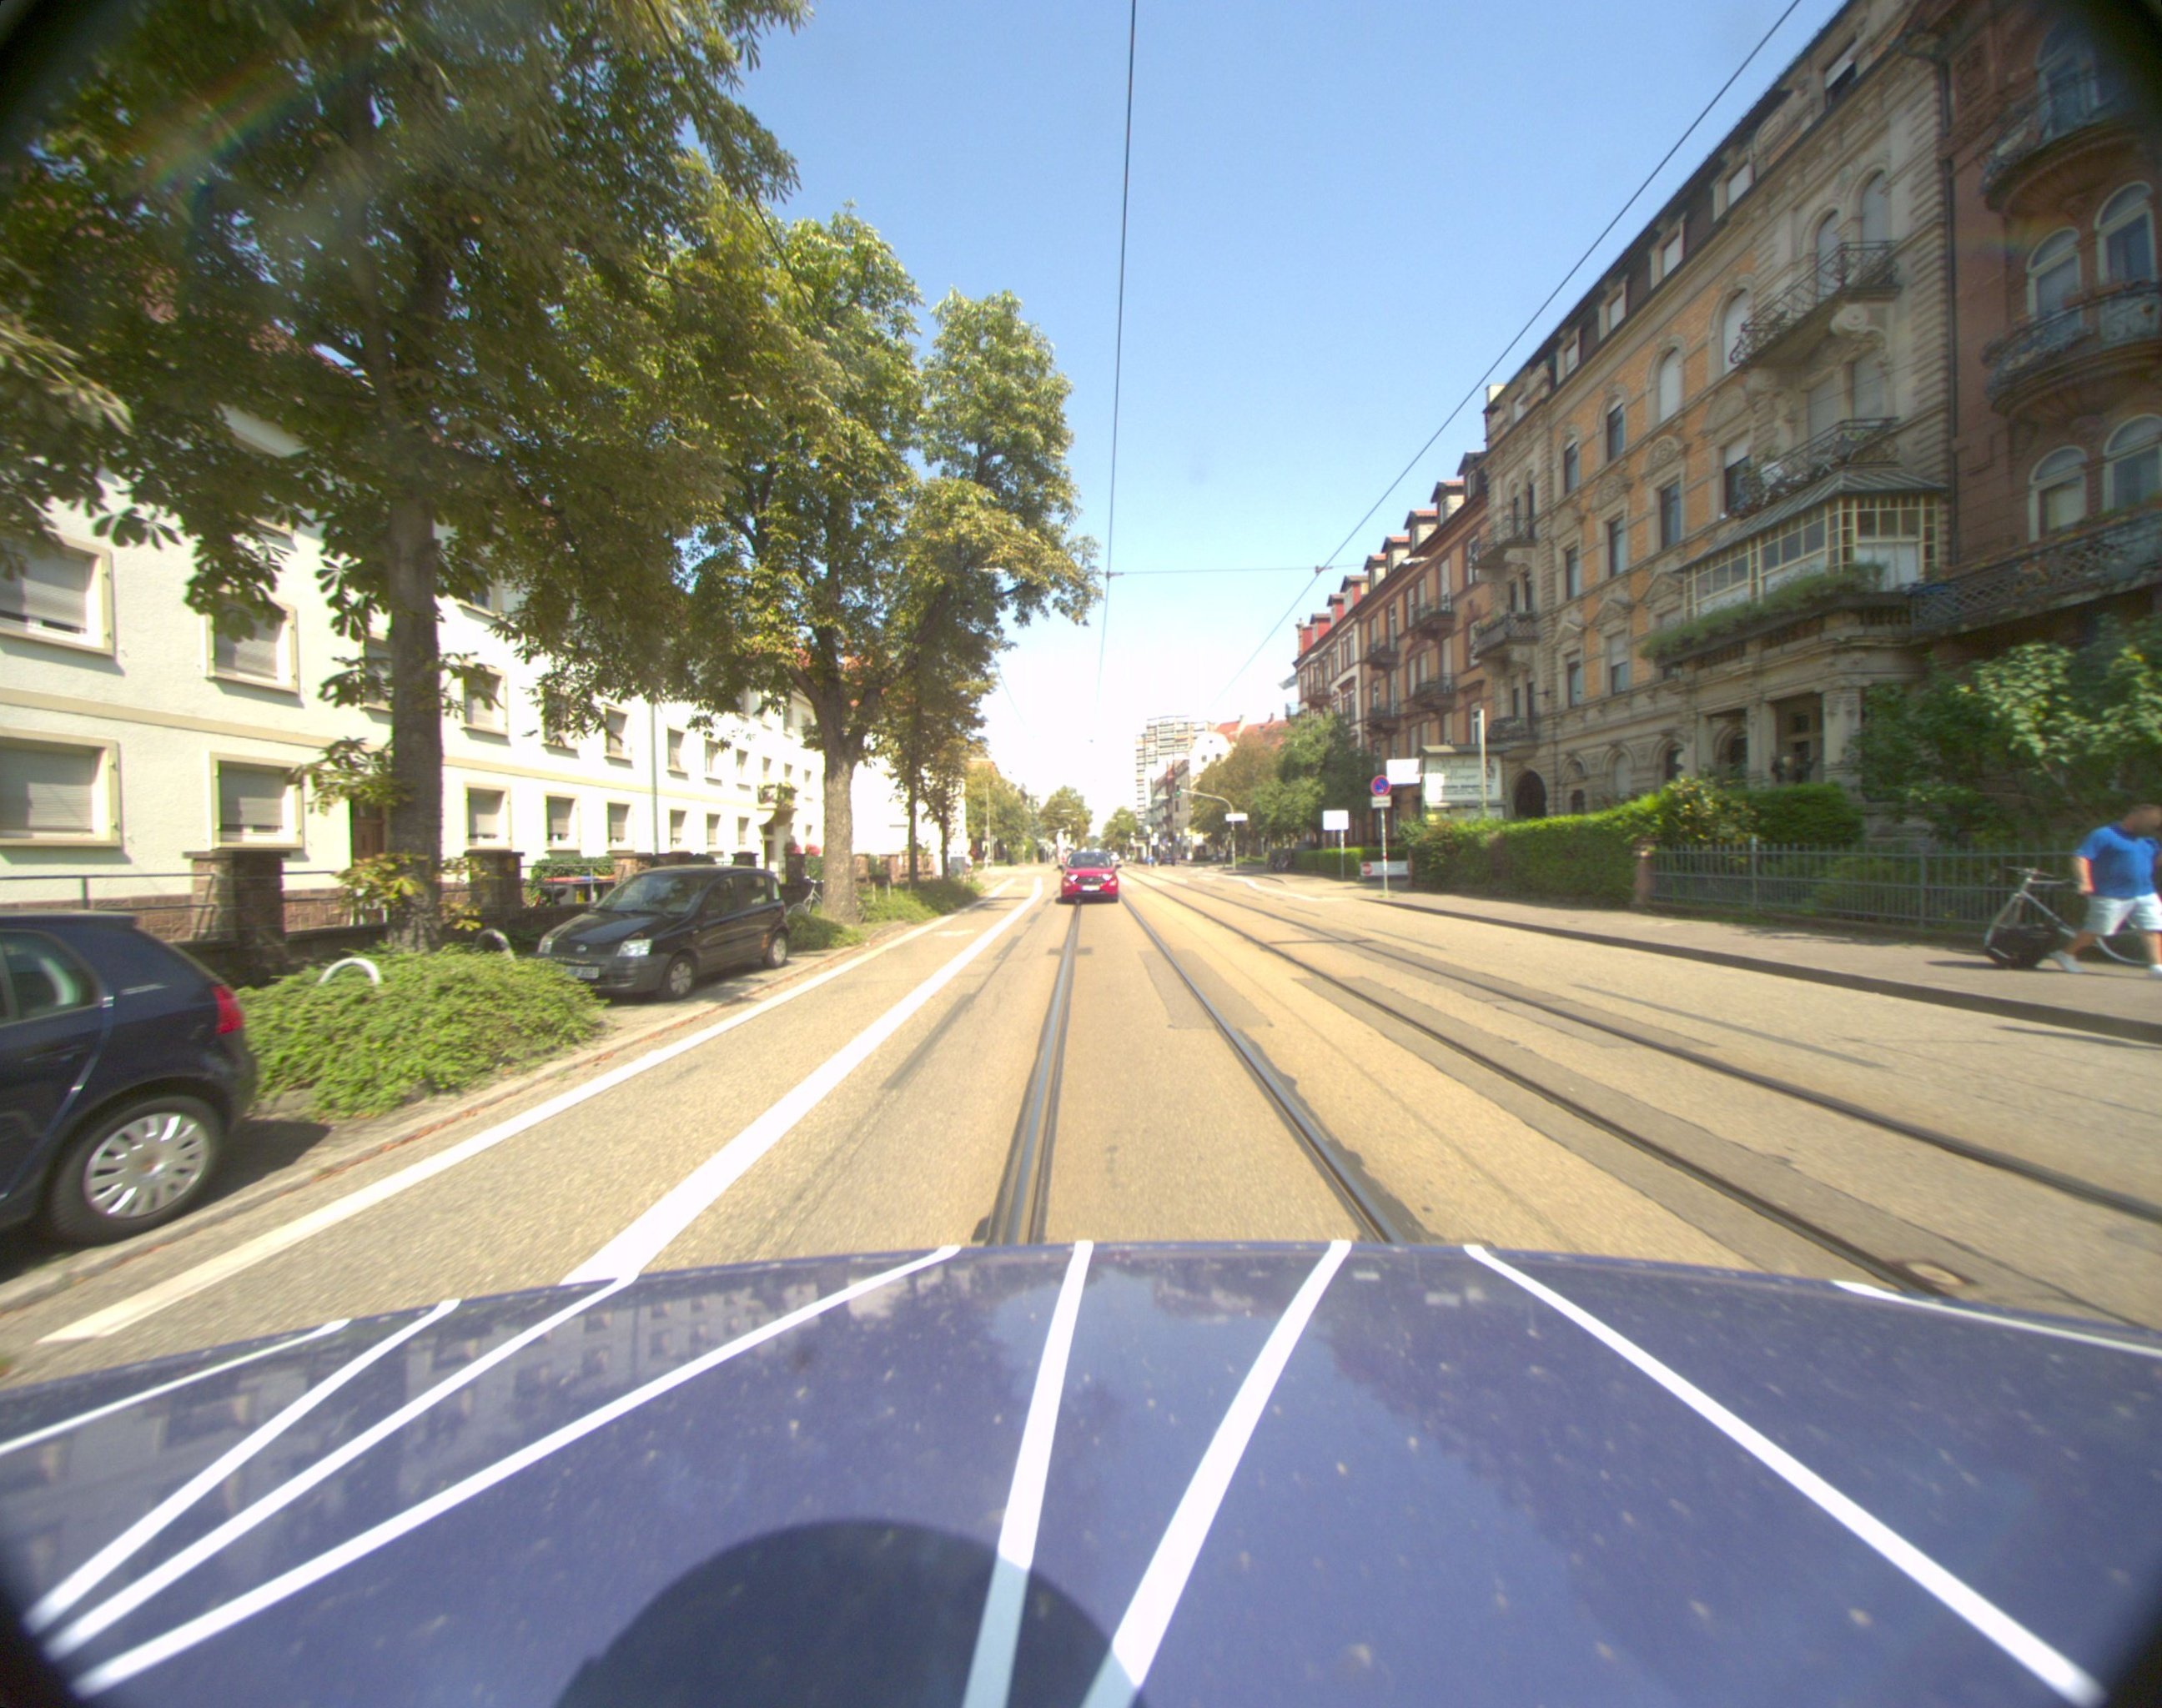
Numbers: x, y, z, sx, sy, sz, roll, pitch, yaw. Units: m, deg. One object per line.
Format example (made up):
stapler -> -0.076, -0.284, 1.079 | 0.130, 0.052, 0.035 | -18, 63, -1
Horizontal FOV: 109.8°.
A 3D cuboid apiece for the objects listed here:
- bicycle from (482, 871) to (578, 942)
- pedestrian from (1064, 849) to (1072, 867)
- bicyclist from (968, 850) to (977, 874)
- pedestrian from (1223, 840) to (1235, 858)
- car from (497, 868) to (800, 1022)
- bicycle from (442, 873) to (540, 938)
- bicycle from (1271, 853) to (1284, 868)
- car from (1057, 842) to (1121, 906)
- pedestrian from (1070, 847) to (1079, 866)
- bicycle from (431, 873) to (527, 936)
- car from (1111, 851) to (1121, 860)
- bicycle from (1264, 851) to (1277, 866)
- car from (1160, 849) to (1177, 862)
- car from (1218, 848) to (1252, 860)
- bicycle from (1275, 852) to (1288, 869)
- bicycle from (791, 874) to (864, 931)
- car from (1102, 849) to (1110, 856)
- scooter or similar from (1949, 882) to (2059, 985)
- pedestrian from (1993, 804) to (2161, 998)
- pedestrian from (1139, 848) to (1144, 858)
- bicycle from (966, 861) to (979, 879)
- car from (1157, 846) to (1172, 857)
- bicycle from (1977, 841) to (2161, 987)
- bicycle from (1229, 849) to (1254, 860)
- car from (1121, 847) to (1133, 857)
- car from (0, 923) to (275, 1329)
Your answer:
bicycle -> -9.931, 0.910, 13.765 | 0.469, 1.153, 1.717 | -1, 1, 0
pedestrian -> -1.367, 0.420, 80.510 | 0.674, 1.874, 0.923 | -1, 1, 11
bicyclist -> -6.854, 0.479, 47.873 | 0.438, 1.503, 0.472 | -1, 1, 2
pedestrian -> 17.322, -0.600, 88.795 | 1.094, 2.002, 1.036 | -3, 1, 0
car -> -5.302, 1.003, 9.891 | 1.620, 1.521, 3.500 | 0, 1, 7
bicycle -> -10.950, 0.926, 14.180 | 0.469, 1.087, 1.717 | -1, 1, 0
bicycle -> 12.442, 0.421, 48.191 | 0.488, 0.936, 1.657 | -1, 0, 4
car -> 0.266, 0.563, 24.416 | 1.803, 1.801, 4.416 | -2, 0, 1
pedestrian -> -0.621, 0.232, 74.373 | 0.676, 1.874, 0.921 | -2, 1, -15
bicycle -> -11.564, 0.935, 14.663 | 0.469, 1.087, 1.717 | -1, 1, 0
car -> 6.900, 0.348, 150.254 | 1.998, 1.716, 4.631 | 0, 0, 3
bicycle -> 12.730, 0.294, 51.070 | 0.488, 1.016, 1.778 | -1, 0, 4
car -> 10.078, 0.106, 88.120 | 1.731, 1.425, 4.177 | -1, 1, 4
car -> 22.327, 0.030, 110.246 | 4.617, 1.716, 2.004 | 0, 1, 44
bicycle -> 12.257, 0.382, 46.475 | 0.488, 0.980, 1.657 | -1, 0, 4
bicycle -> -5.374, 1.007, 16.127 | 1.395, 1.102, 0.388 | -2, 1, -35
car -> 6.782, -0.417, 206.929 | 1.998, 1.716, 4.631 | 0, 0, 1
scooter or similar -> 9.506, 0.799, 7.840 | 0.401, 0.977, 0.584 | -3, 1, -7
pedestrian -> 9.739, 0.418, 7.307 | 0.885, 1.746, 0.870 | -1, 1, 1
pedestrian -> 7.256, -0.137, 90.793 | 0.480, 1.243, 0.648 | -1, 1, 2
bicycle -> -6.840, 1.003, 47.934 | 0.441, 1.041, 1.829 | -1, 1, 2
car -> 13.435, -0.351, 122.270 | 1.998, 1.716, 4.631 | 0, 0, 1
bicycle -> 10.549, 0.569, 7.995 | 0.391, 1.398, 1.582 | -2, 1, 2
bicycle -> 22.431, 0.106, 106.004 | 1.225, 1.428, 3.476 | -2, 1, -36
car -> 7.630, -0.349, 126.741 | 1.998, 1.716, 4.631 | 0, 0, 2
car -> -5.000, 1.108, 1.892 | 1.621, 1.469, 4.038 | 0, 1, 1
